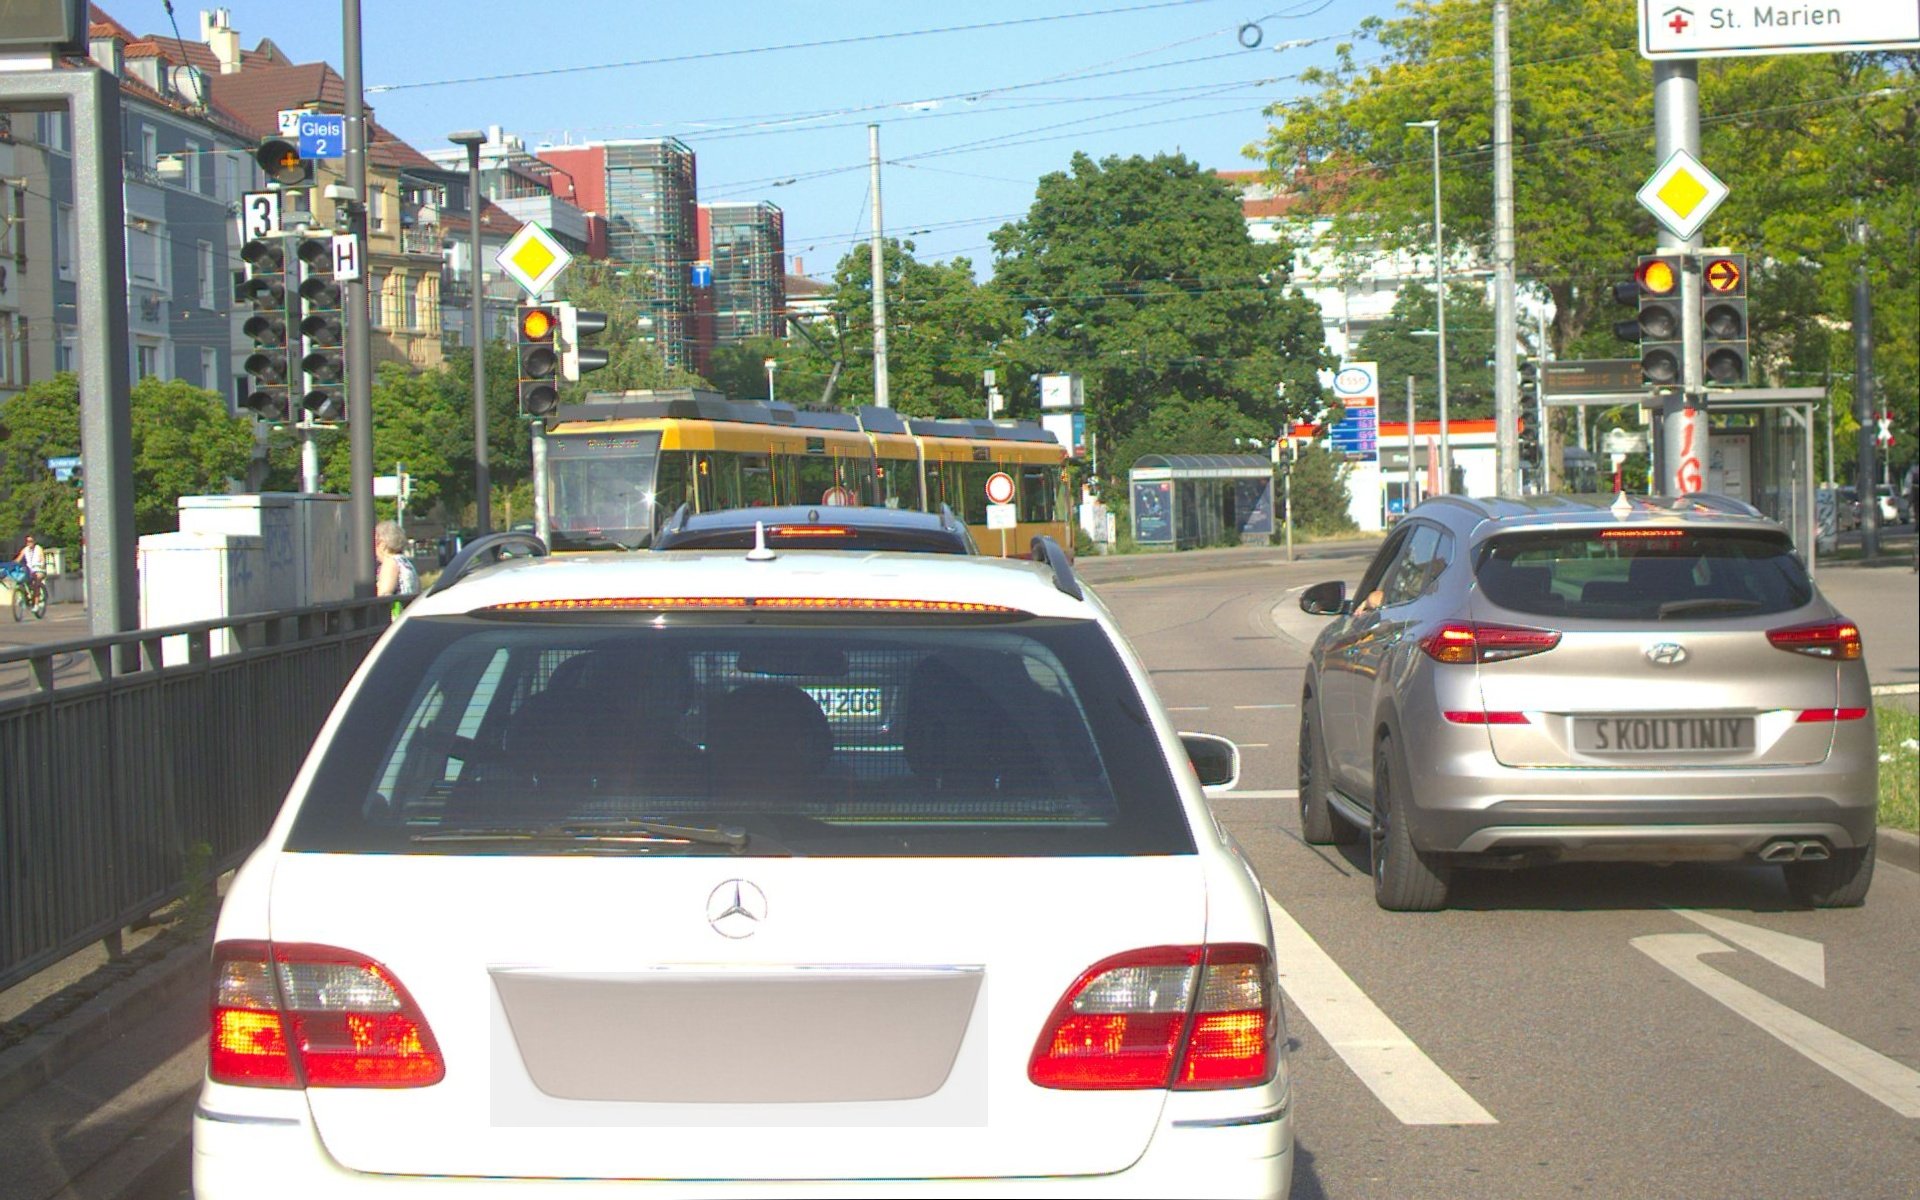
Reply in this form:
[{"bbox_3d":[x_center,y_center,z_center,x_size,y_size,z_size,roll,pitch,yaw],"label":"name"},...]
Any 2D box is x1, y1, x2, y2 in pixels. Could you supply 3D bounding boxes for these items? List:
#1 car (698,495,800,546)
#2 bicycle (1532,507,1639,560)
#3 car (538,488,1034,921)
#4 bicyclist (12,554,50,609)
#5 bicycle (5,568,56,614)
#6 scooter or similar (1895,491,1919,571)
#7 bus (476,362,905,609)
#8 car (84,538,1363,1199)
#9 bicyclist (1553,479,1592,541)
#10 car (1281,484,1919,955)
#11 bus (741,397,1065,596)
[{"bbox_3d":[-8.377,-3.154,136.689,3.986,2.007,2.000,0,1,-2],"label":"car"},{"bbox_3d":[15.201,-1.625,83.618,2.483,1.209,0.806,-2,1,8],"label":"bicycle"},{"bbox_3d":[-0.694,0.359,14.996,1.885,1.645,3.648,1,1,-1],"label":"car"},{"bbox_3d":[-17.932,-0.356,66.350,0.512,1.041,0.679,-2,1,-1],"label":"bicyclist"},{"bbox_3d":[-17.929,-0.176,66.328,0.526,0.831,1.686,-2,1,-1],"label":"bicycle"},{"bbox_3d":[13.625,-0.967,47.904,0.419,1.113,1.330,-2,1,-21],"label":"scooter or similar"},{"bbox_3d":[-4.063,-1.740,56.329,3.111,3.593,12.366,1,1,15],"label":"bus"},{"bbox_3d":[-0.360,0.624,6.667,1.796,1.465,3.648,0,1,-1],"label":"car"},{"bbox_3d":[14.896,-2.198,83.634,0.861,1.476,0.789,-2,1,8],"label":"bicyclist"},{"bbox_3d":[2.501,0.391,14.292,1.885,1.645,3.648,-2,1,-1],"label":"car"},{"bbox_3d":[-0.861,-1.945,68.394,3.111,3.593,12.582,1,1,15],"label":"bus"}]
